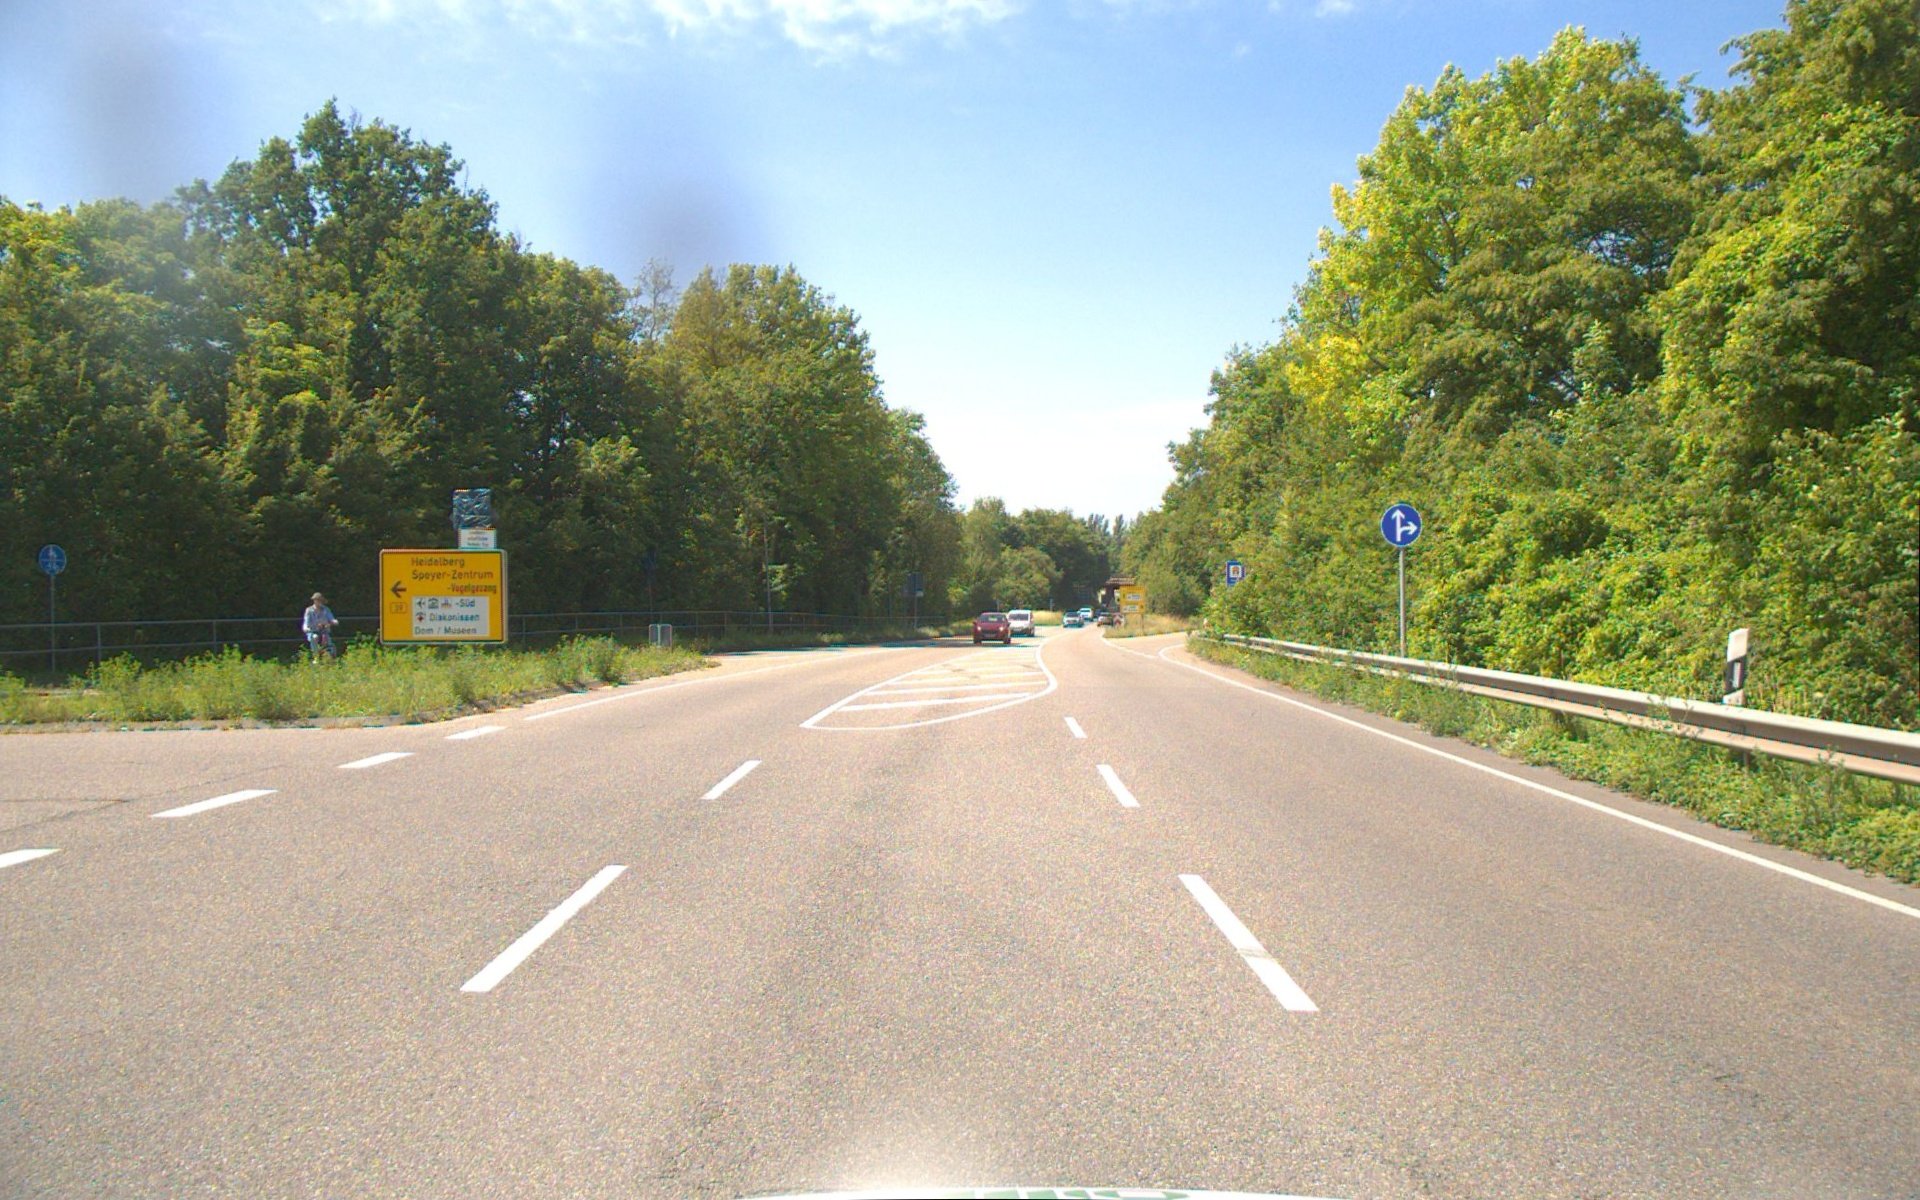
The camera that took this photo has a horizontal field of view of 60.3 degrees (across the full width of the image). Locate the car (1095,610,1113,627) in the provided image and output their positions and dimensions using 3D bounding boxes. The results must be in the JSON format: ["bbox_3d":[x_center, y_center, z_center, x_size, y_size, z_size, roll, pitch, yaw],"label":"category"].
[{"bbox_3d":[15.873,2.029,182.210,1.805,1.714,4.002,0,1,3],"label":"car"}]

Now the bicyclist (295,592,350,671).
[{"bbox_3d":[-11.243,0.551,29.184,0.596,1.387,0.687,0,-1,33],"label":"bicyclist"}]

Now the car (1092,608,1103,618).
[{"bbox_3d":[21.766,1.973,261.243,1.683,1.535,3.712,0,0,6],"label":"car"}]

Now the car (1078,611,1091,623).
[{"bbox_3d":[16.741,2.312,222.199,1.683,1.555,3.712,0,0,6],"label":"car"}]

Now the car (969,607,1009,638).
[{"bbox_3d":[1.389,1.070,80.003,1.773,1.483,3.757,1,0,-1],"label":"car"}]

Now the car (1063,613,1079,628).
[{"bbox_3d":[12.079,2.226,179.832,1.642,1.554,4.002,0,0,4],"label":"car"}]

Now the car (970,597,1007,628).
[{"bbox_3d":[3.027,1.368,178.489,1.971,3.282,4.763,0,0,-29],"label":"car"}]

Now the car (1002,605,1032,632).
[{"bbox_3d":[3.853,1.243,111.896,1.952,1.760,4.276,0,0,3],"label":"car"}]

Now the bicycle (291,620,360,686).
[{"bbox_3d":[-11.217,0.920,29.224,1.452,1.133,0.435,0,-1,36],"label":"bicycle"}]
